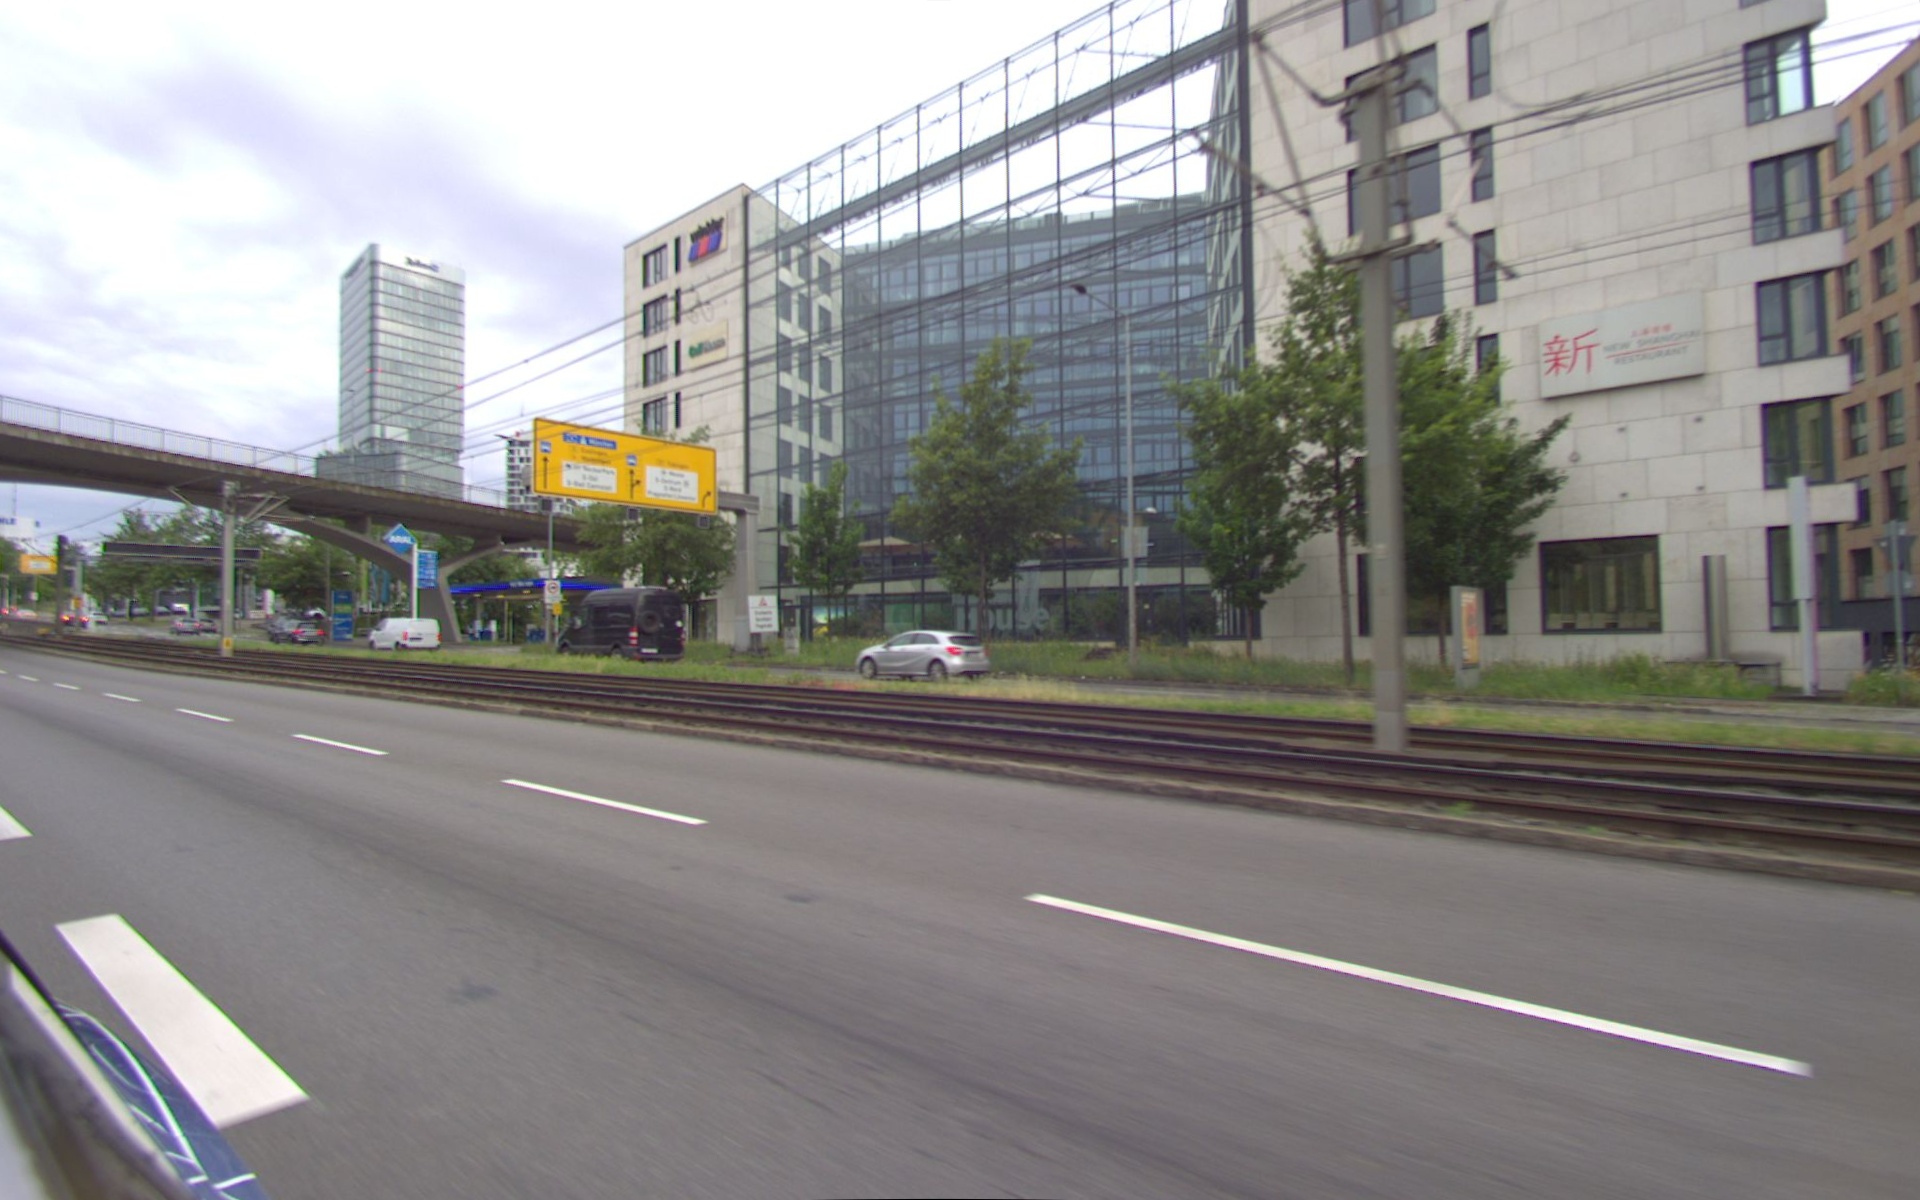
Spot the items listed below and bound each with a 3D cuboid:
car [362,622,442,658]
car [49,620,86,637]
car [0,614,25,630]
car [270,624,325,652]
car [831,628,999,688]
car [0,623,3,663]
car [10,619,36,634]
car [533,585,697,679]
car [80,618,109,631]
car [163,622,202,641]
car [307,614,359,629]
[{"bbox_3d":[-28.786,2.029,52.144,5.058,1.775,1.918,-1,-1,40],"label":"car"},{"bbox_3d":[-83.771,2.641,94.995,4.864,1.545,1.792,-1,-1,39],"label":"car"},{"bbox_3d":[-114.482,2.682,121.942,4.218,1.790,1.902,-2,1,38],"label":"car"},{"bbox_3d":[-41.974,2.385,64.074,4.489,1.618,1.791,-1,-1,42],"label":"car"},{"bbox_3d":[-1.347,1.579,28.695,4.812,1.545,1.742,-1,-1,39],"label":"car"},{"bbox_3d":[-47.684,2.032,48.915,4.377,1.882,1.770,1,1,43],"label":"car"},{"bbox_3d":[-104.926,2.992,113.328,4.790,1.610,1.745,-1,-1,42],"label":"car"},{"bbox_3d":[-11.384,1.010,33.232,5.602,2.839,2.361,-1,0,37],"label":"car"},{"bbox_3d":[-102.685,2.894,120.073,4.655,1.509,1.900,-1,-5,42],"label":"car"},{"bbox_3d":[-66.251,2.659,86.189,4.272,1.545,1.791,-1,-1,41],"label":"car"},{"bbox_3d":[-65.891,2.255,106.372,1.885,1.515,4.305,1,1,43],"label":"car"}]
